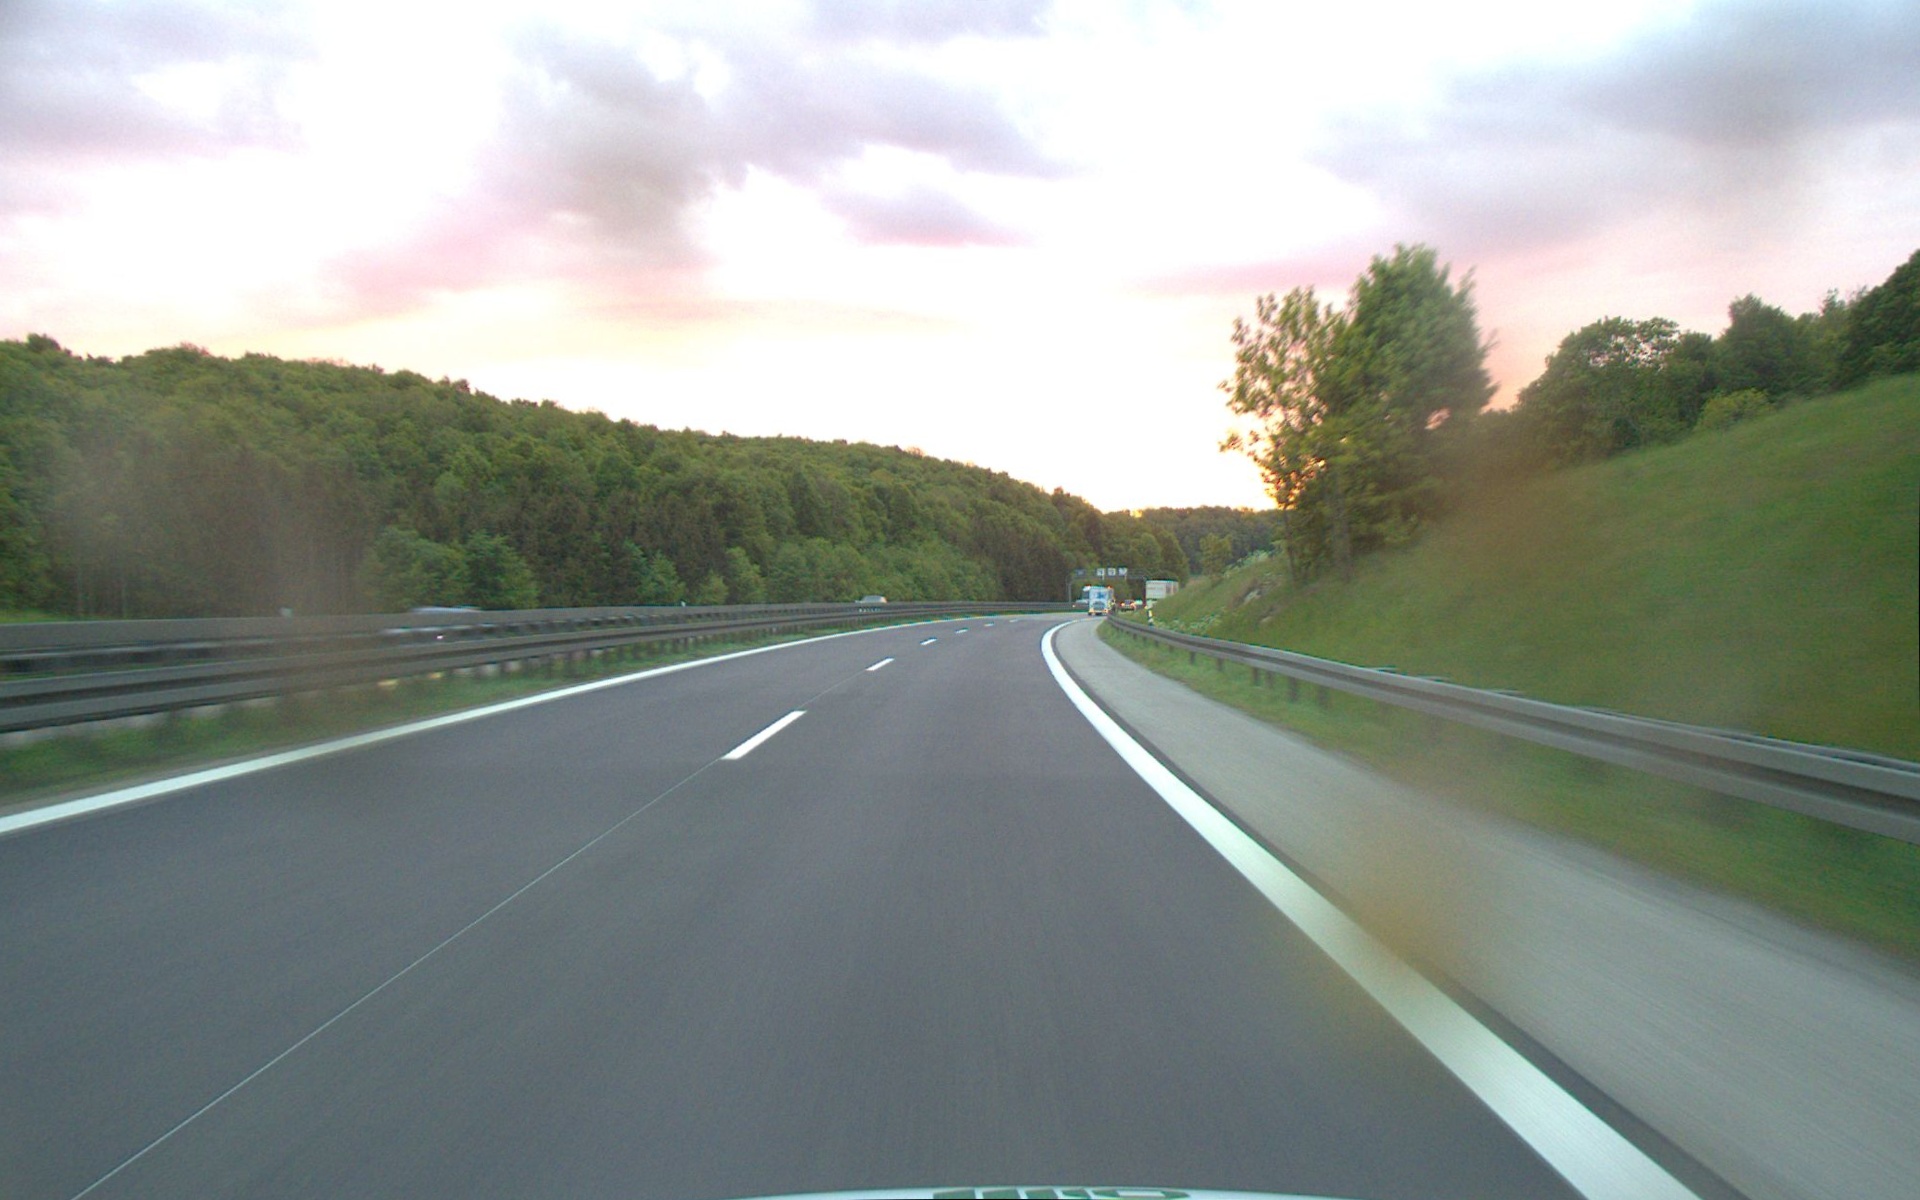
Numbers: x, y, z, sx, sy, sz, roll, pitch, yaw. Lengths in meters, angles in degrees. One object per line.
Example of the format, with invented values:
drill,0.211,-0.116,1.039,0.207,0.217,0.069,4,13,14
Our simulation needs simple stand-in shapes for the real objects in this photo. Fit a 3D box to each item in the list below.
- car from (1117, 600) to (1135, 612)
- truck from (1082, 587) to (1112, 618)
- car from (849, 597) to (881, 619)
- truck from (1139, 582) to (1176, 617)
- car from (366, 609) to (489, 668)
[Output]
car,21.724,0.792,216.343,1.951,1.544,4.003,-1,0,12
truck,13.129,0.192,158.050,2.227,2.711,5.241,-2,1,10
car,-7.371,0.583,128.565,1.715,1.668,4.481,-1,0,7
truck,25.878,-0.131,216.546,3.873,4.362,14.336,-1,0,10
car,-14.456,1.008,45.146,1.760,1.467,4.679,-1,0,1
